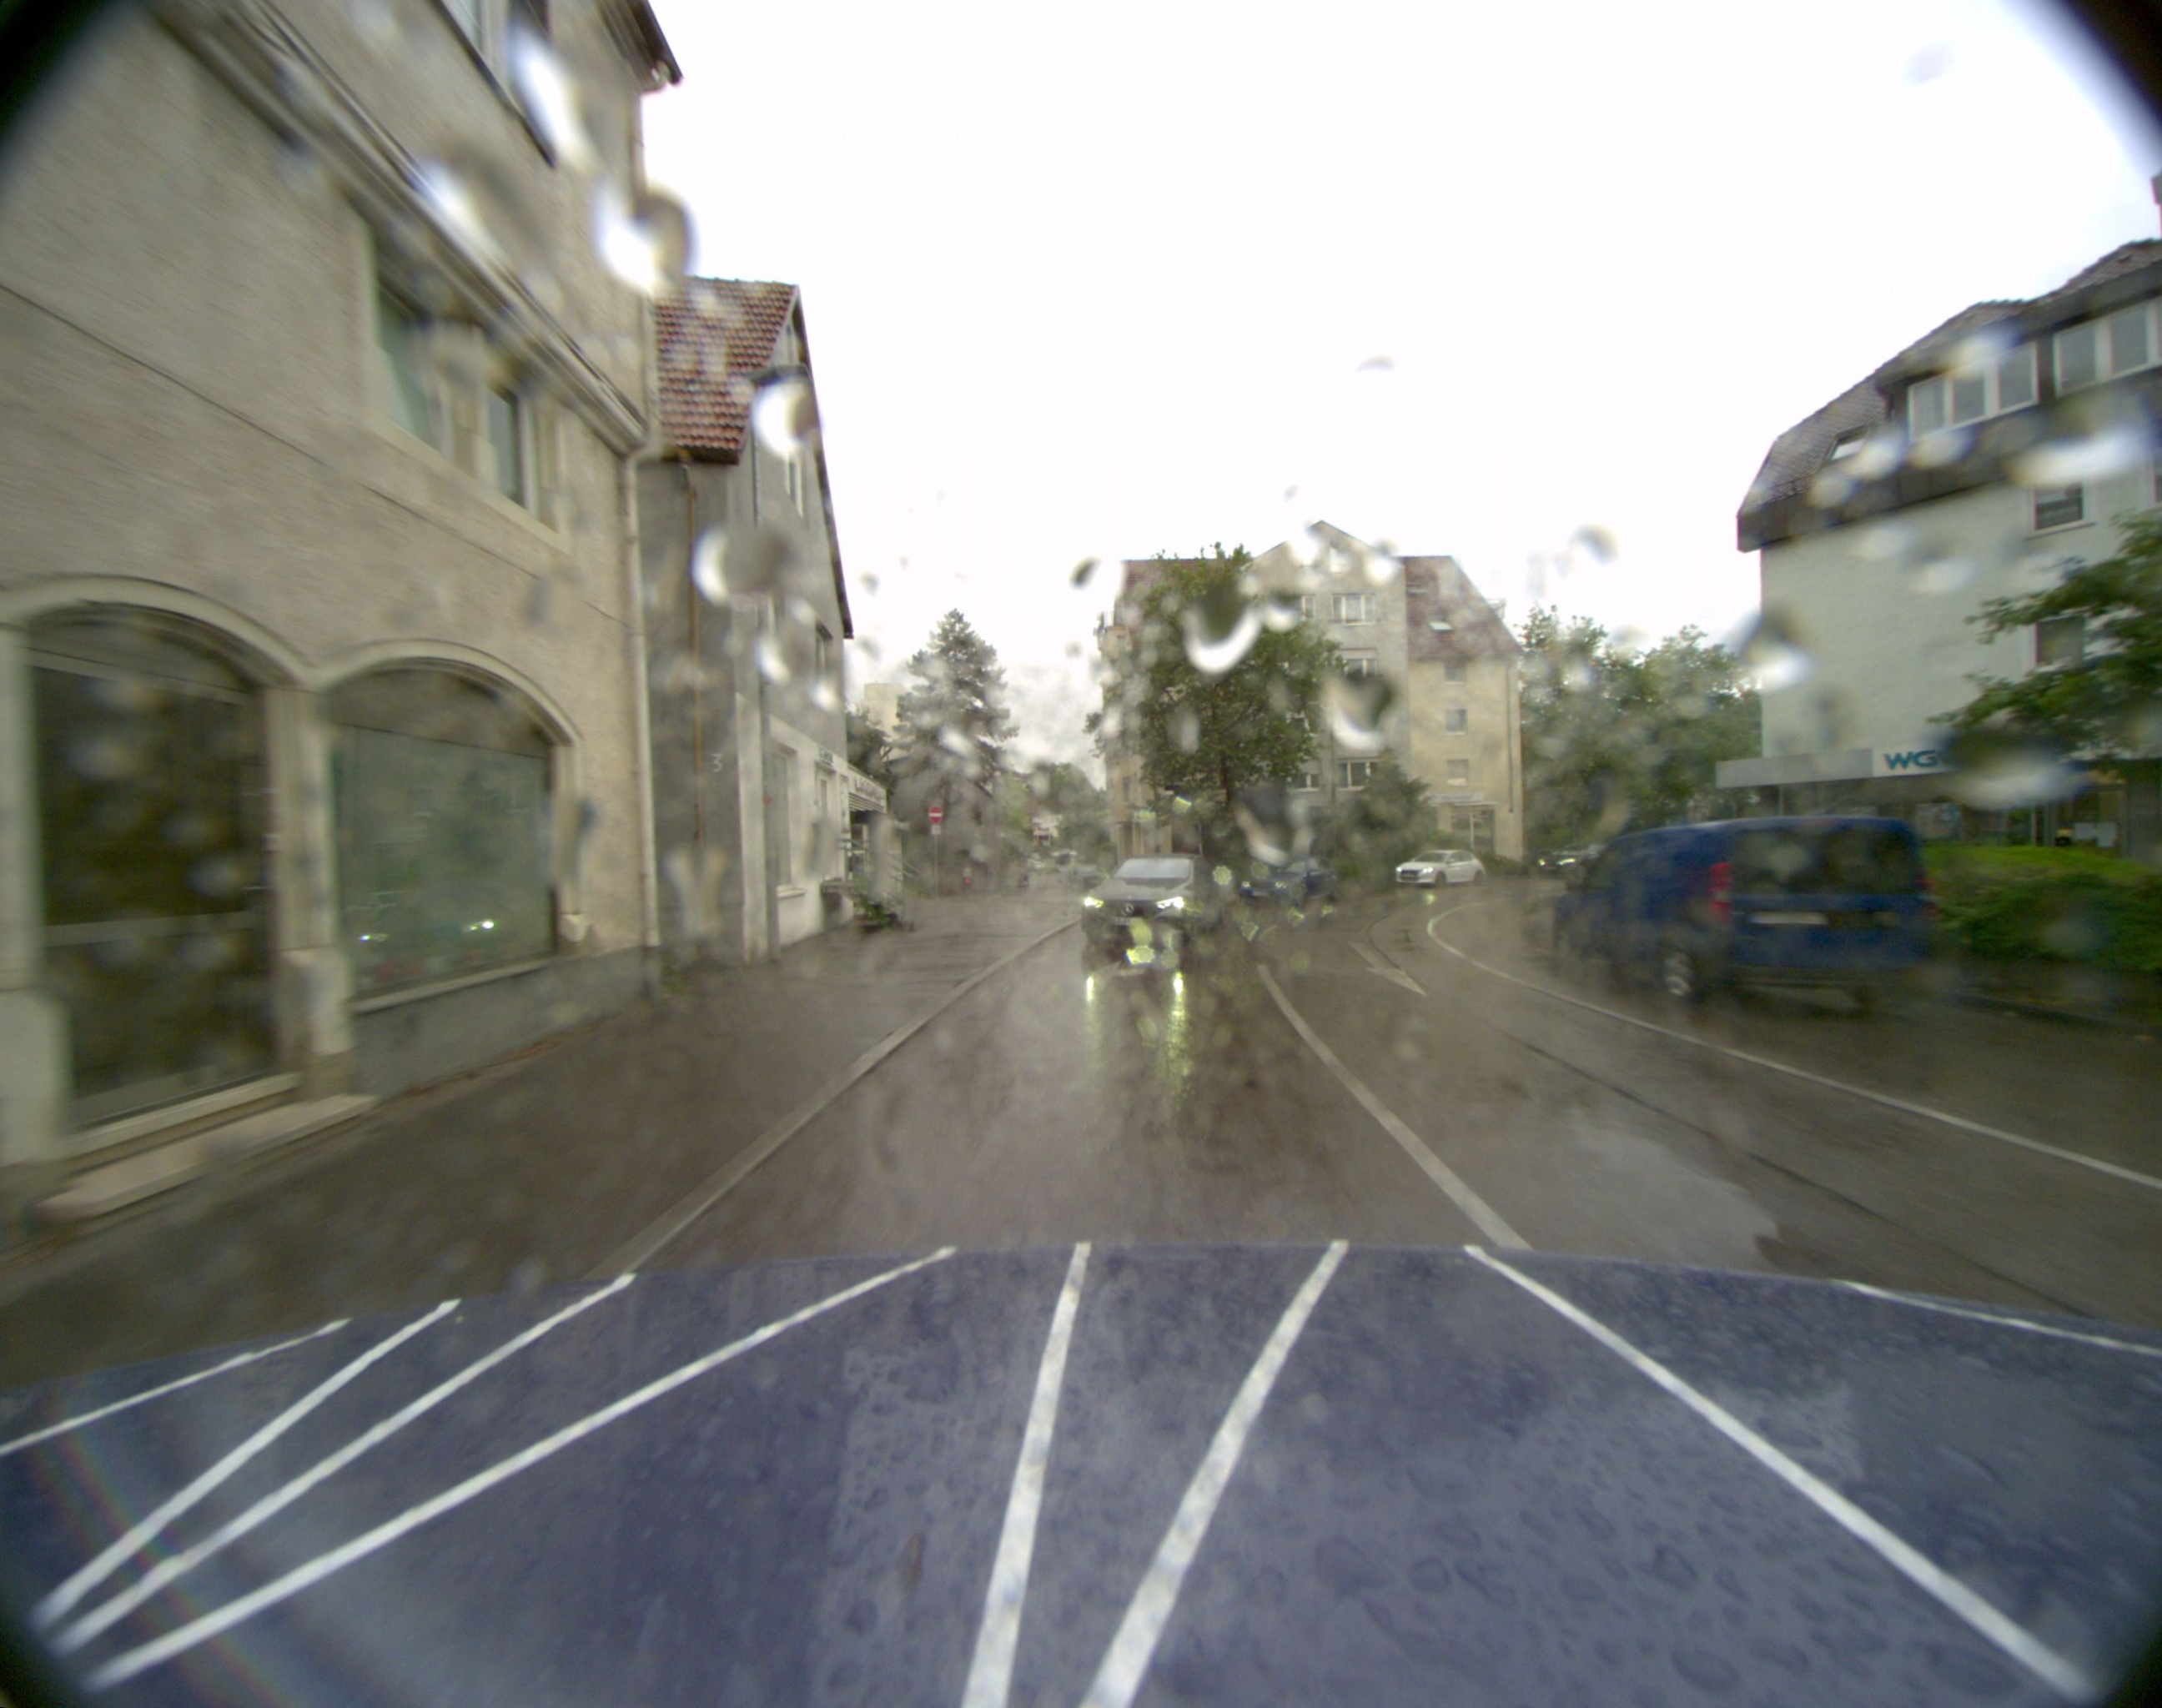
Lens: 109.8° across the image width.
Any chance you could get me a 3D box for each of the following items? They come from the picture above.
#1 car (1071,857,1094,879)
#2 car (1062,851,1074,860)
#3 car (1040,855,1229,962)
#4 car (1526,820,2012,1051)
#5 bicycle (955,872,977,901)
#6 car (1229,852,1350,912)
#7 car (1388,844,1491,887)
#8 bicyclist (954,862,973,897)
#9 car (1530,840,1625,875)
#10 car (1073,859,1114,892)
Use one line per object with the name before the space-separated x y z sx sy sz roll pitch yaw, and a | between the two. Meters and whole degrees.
car | 0.116 1.375 78.389 1.999 1.566 3.996 -12 4 -1
car | -2.282 0.281 136.970 1.998 1.564 4.001 -1 -1 1
car | 1.146 0.809 13.390 1.995 1.484 4.320 -1 1 23
car | 6.935 0.625 8.491 1.997 1.871 4.381 1 1 11
bicycle | -5.075 1.451 33.384 0.764 1.027 2.082 -2 -9 -14
car | 6.319 0.778 22.705 1.770 1.524 4.386 -2 0 40
car | 14.480 0.435 30.668 4.006 1.556 1.810 -1 0 -31
bicyclist | -5.194 1.116 33.477 0.686 1.509 1.029 -1 0 -15
car | 23.402 0.156 35.811 4.005 1.444 1.996 -2 0 -28
car | 0.623 1.132 41.670 1.999 1.641 3.999 -2 0 -2
